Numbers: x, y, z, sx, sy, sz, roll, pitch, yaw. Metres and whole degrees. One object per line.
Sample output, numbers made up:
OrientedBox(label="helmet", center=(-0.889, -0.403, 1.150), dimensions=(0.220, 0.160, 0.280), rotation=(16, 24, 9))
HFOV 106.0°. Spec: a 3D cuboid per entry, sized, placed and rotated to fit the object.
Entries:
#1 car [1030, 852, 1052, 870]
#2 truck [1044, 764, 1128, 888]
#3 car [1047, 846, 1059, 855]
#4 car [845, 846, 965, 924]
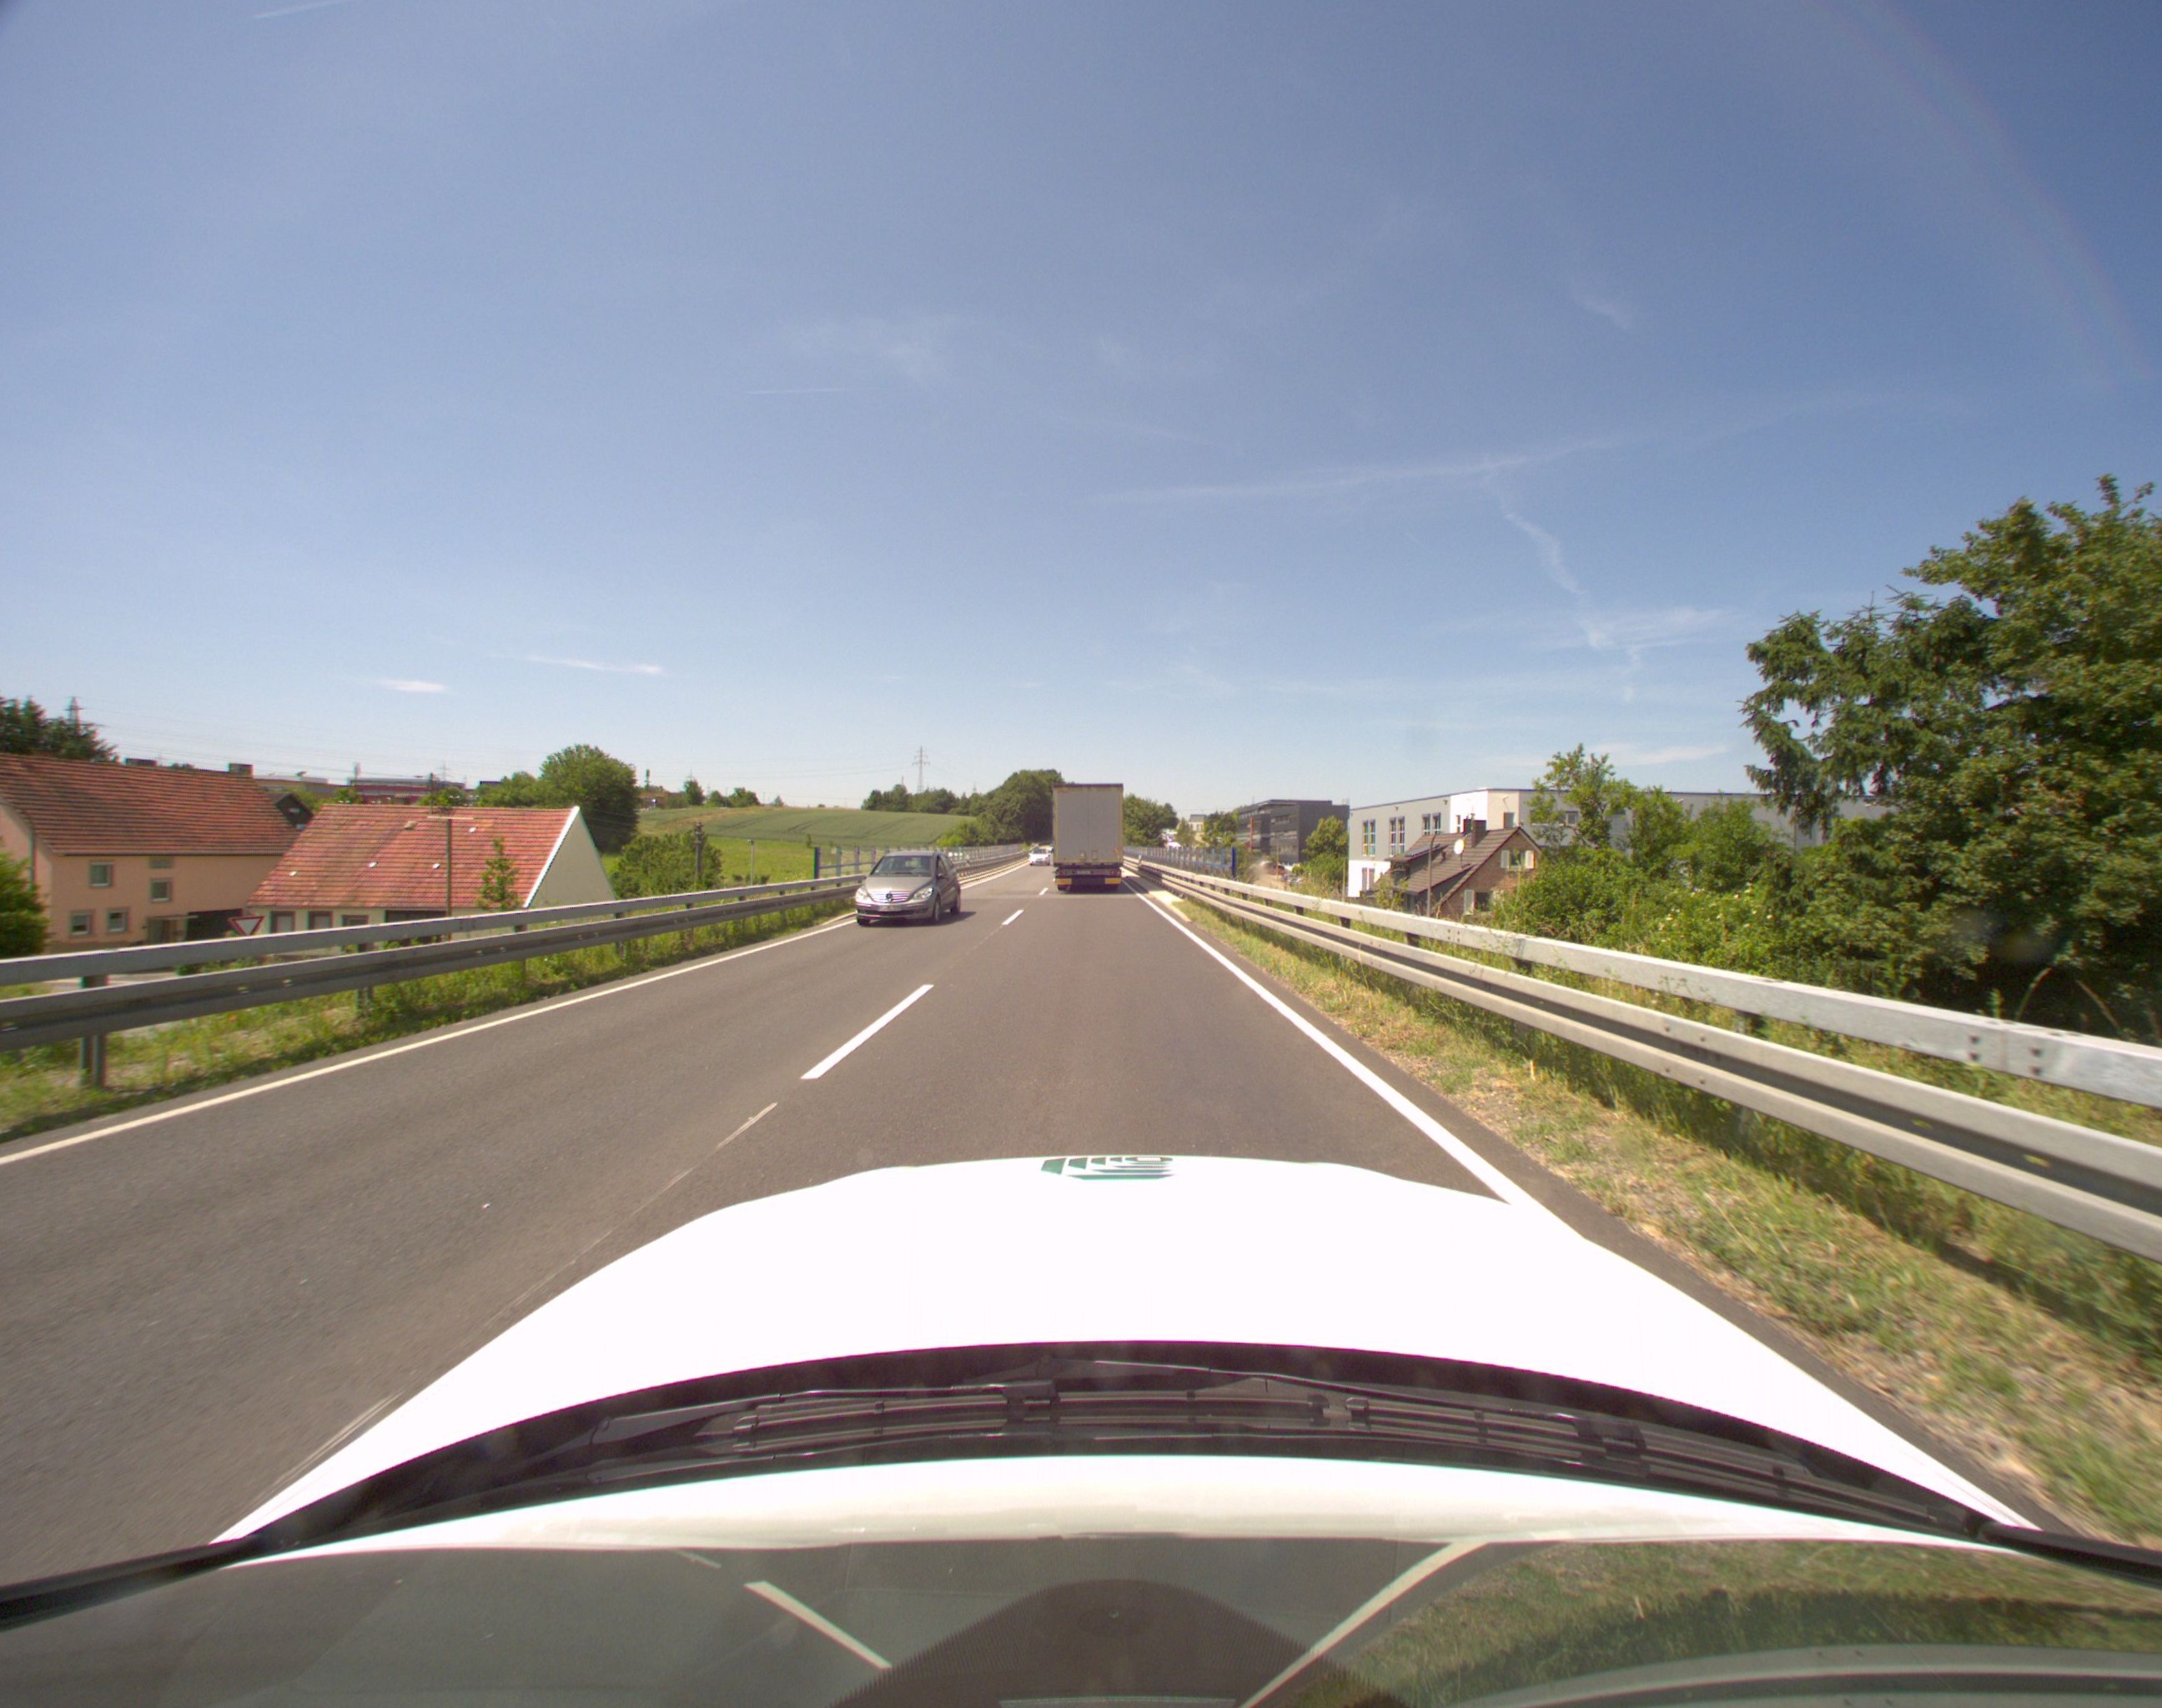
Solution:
OrientedBox(label="car", center=(-3.463, 0.628, 71.810), dimensions=(1.702, 1.505, 4.118), rotation=(-1, 0, 0))
OrientedBox(label="truck", center=(0.202, -0.957, 33.842), dimensions=(2.857, 4.359, 9.787), rotation=(-1, -1, 0))
OrientedBox(label="car", center=(-4.522, -0.614, 130.627), dimensions=(1.776, 1.435, 4.832), rotation=(-1, 0, -1))
OrientedBox(label="car", center=(-3.998, 0.647, 19.241), dimensions=(1.800, 1.589, 4.379), rotation=(-1, 0, 1))
